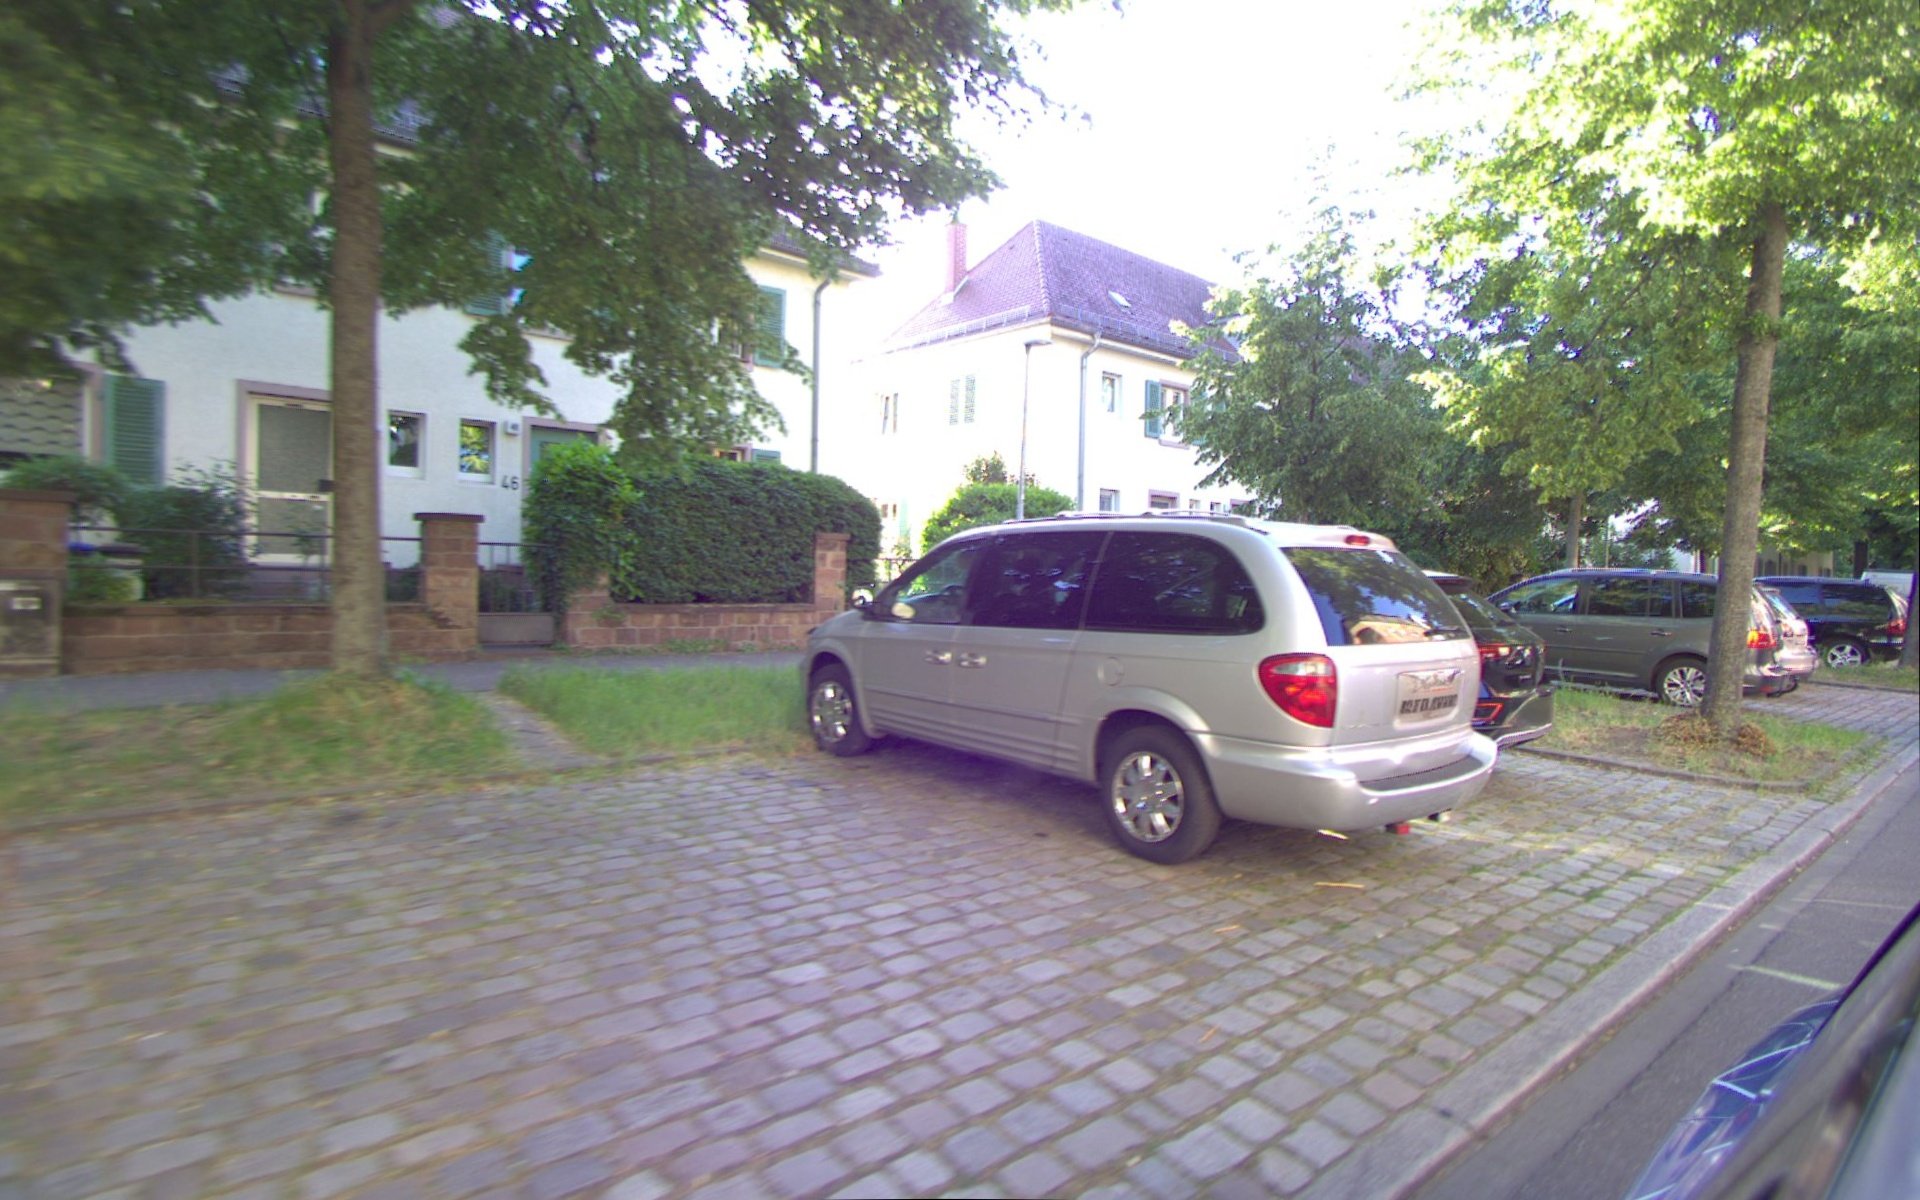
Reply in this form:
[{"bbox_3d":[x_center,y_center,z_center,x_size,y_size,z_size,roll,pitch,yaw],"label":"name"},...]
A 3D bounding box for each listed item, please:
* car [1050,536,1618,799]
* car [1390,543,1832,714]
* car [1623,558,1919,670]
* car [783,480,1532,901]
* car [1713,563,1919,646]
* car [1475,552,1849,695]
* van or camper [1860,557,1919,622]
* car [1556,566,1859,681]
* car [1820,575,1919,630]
[{"bbox_3d":[2.809,0.333,8.414,1.663,1.494,4.080,1,4,-39],"label":"car"},{"bbox_3d":[8.345,0.218,13.307,4.543,1.653,1.783,7,5,44],"label":"car"},{"bbox_3d":[16.140,0.168,20.037,1.872,1.697,4.597,0,5,-38],"label":"car"},{"bbox_3d":[0.798,0.220,6.518,1.800,1.730,4.633,0,4,-38],"label":"car"},{"bbox_3d":[21.541,0.082,24.875,1.842,1.653,4.487,0,5,-41],"label":"car"},{"bbox_3d":[10.452,0.231,15.400,1.659,1.653,4.288,1,5,-37],"label":"car"},{"bbox_3d":[40.556,-0.271,41.008,2.124,2.546,5.734,0,5,-40],"label":"van or camper"},{"bbox_3d":[12.293,0.296,16.836,1.561,1.470,3.732,0,5,-40],"label":"car"},{"bbox_3d":[30.717,0.165,32.188,1.862,1.557,4.848,0,5,-42],"label":"car"}]
